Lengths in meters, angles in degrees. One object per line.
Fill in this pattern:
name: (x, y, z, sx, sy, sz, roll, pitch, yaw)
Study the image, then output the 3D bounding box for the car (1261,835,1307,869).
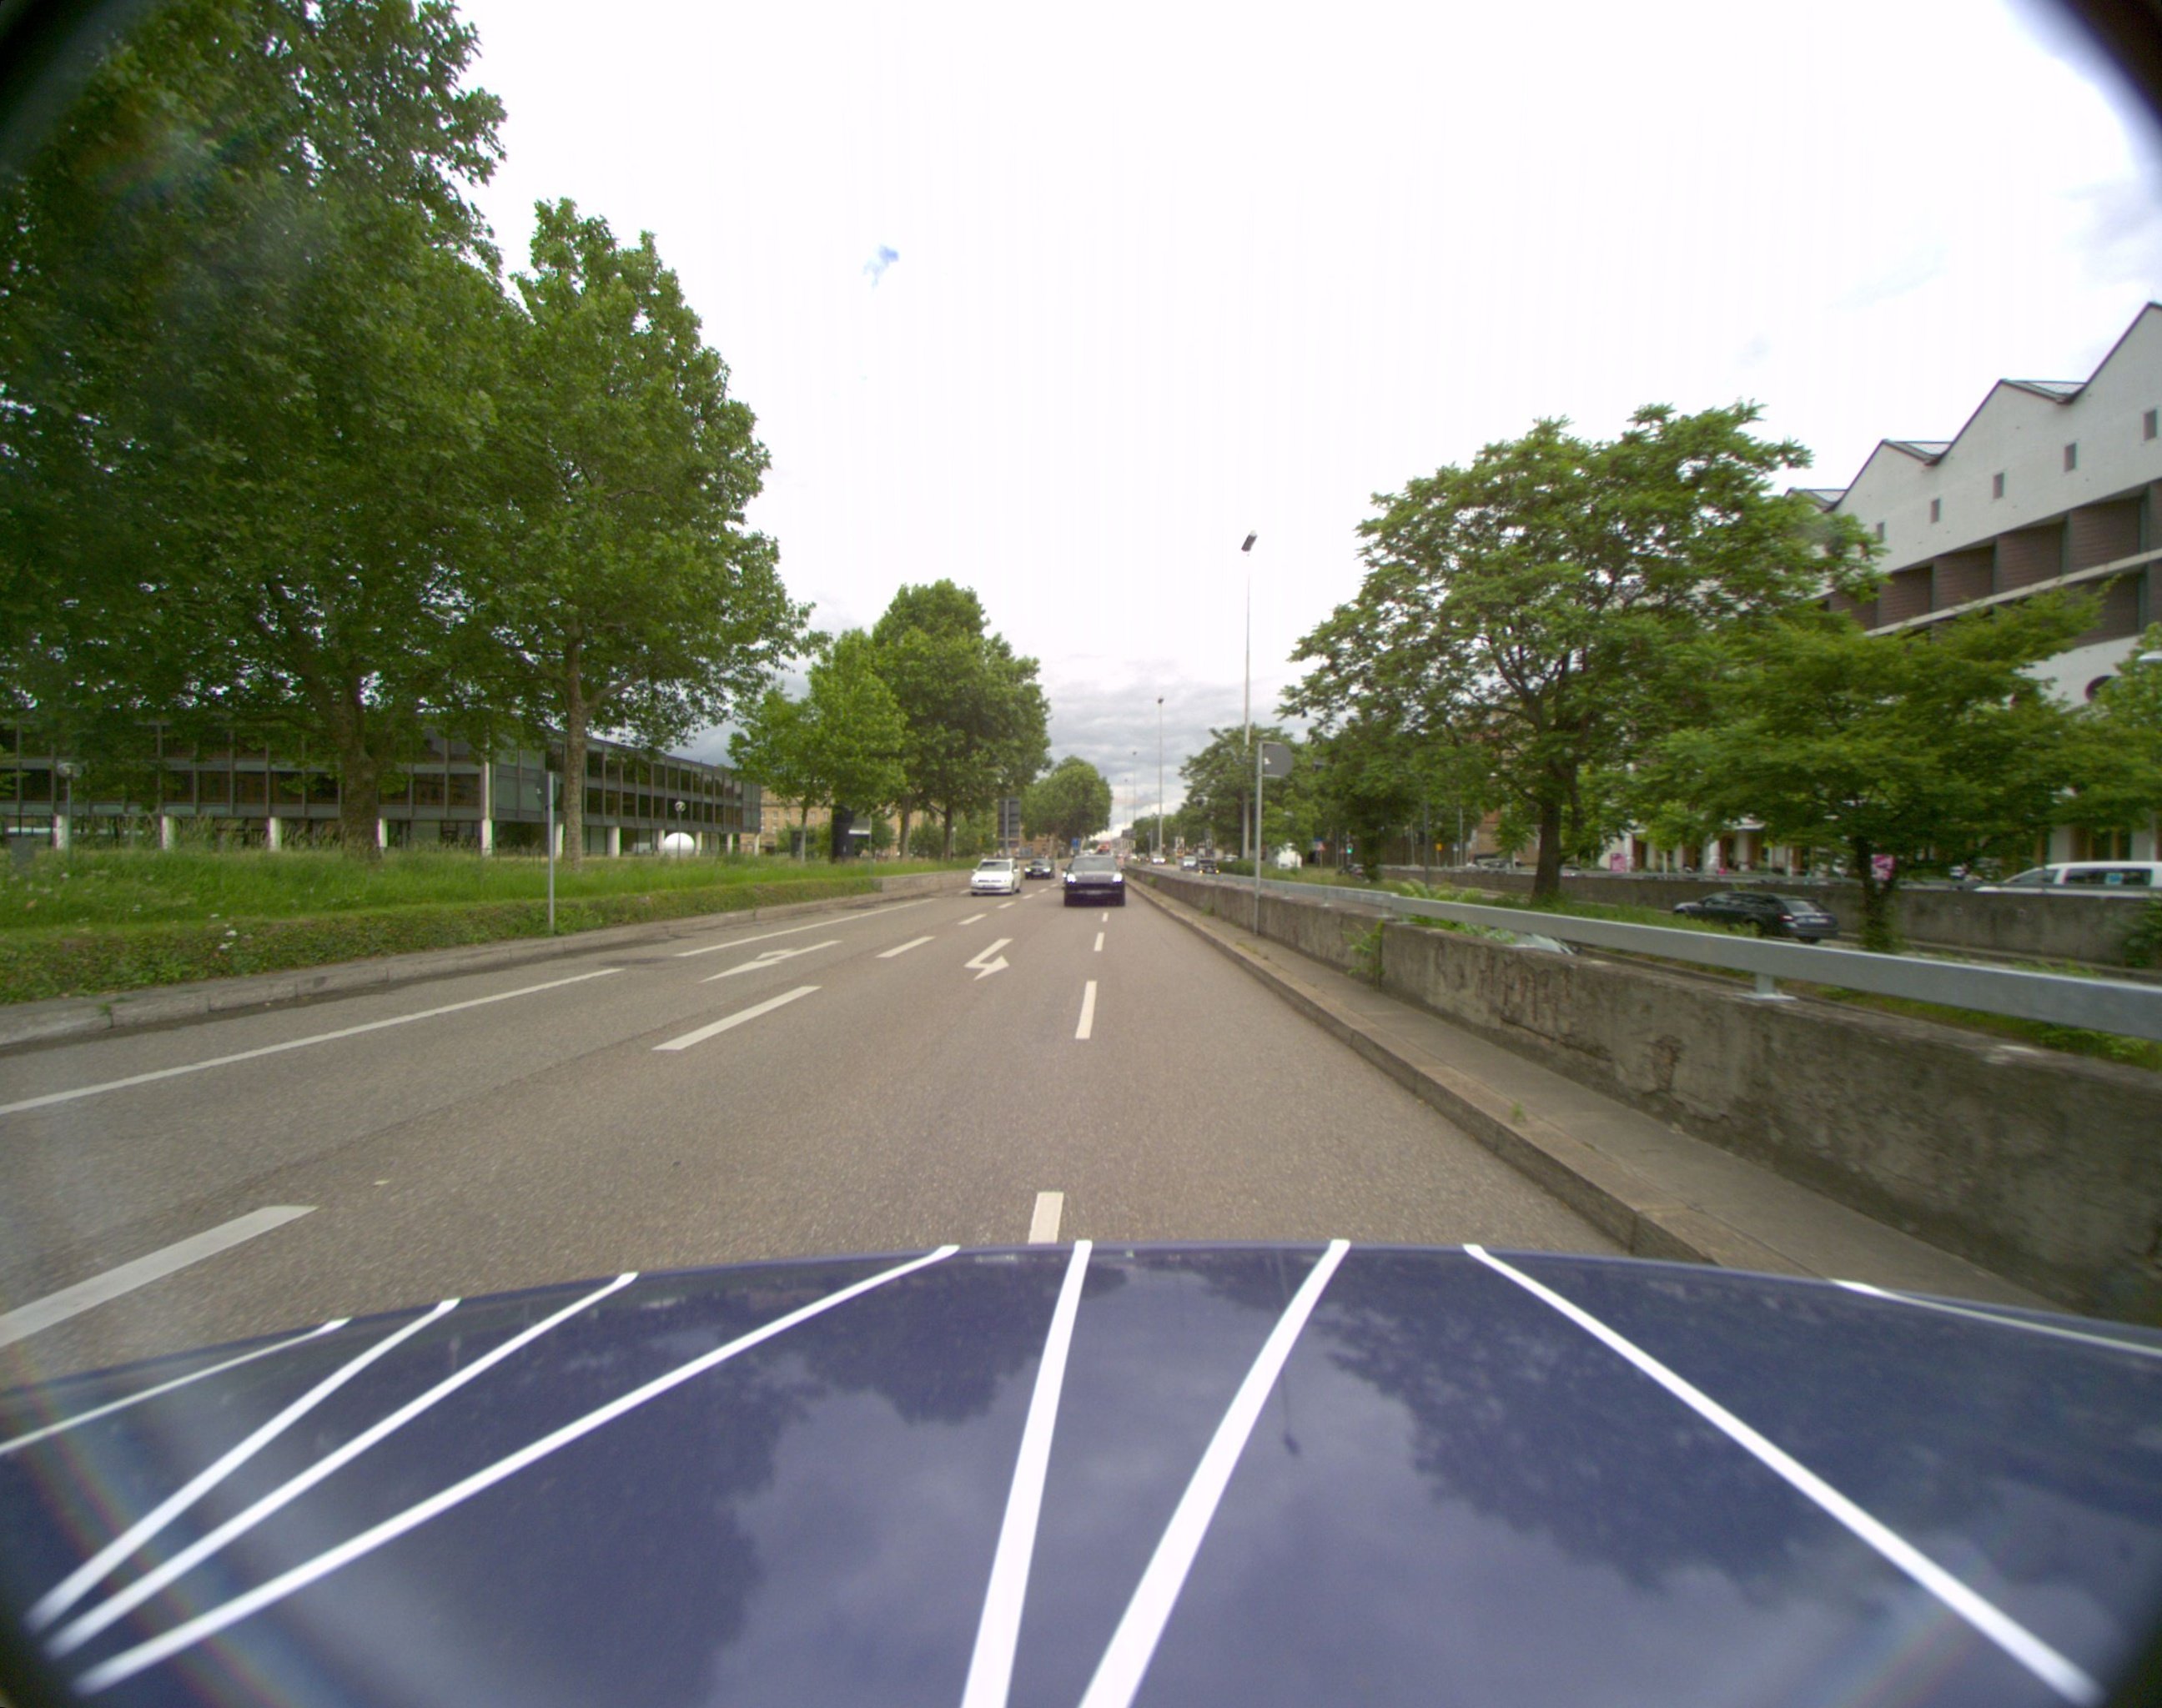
car: (17.005, -0.229, 63.946, 2.330, 2.511, 6.056, -2, 2, 1)

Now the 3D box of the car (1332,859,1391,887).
car: (17.015, 1.127, 46.299, 1.906, 1.478, 3.998, -2, 1, -3)

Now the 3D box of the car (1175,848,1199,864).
car: (10.979, 0.176, 78.978, 1.998, 1.636, 4.000, -1, 0, 1)

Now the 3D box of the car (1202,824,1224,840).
car: (15.417, -2.538, 88.819, 1.861, 1.707, 4.445, 1, 0, 2)

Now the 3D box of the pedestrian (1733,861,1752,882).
pedestrian: (42.447, 1.114, 48.762, 0.788, 1.319, 0.671, 0, 1, 28)

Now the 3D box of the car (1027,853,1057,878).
car: (-2.799, 0.799, 54.878, 2.062, 1.616, 4.600, -2, 0, -2)

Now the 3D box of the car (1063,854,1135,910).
car: (0.484, 0.839, 25.059, 2.062, 1.616, 4.600, 0, 0, -2)

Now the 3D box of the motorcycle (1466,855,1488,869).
motorcycle: (34.743, 0.681, 66.636, 1.892, 1.227, 0.657, 0, 3, -23)

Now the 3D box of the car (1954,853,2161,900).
car: (29.633, 0.599, 22.607, 1.813, 1.112, 4.807, -2, 1, 0)

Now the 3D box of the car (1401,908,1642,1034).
car: (7.566, 1.923, 13.605, 1.768, 1.507, 4.150, -1, 1, -3)

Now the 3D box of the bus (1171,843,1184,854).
bus: (30.944, -1.820, 243.317, 2.919, 3.286, 10.448, 0, 1, 0)

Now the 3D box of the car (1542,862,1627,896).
car: (28.734, 1.386, 43.538, 1.862, 1.707, 4.391, 1, 0, -1)

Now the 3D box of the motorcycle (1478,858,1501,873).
motorcycle: (34.913, 0.975, 64.995, 1.892, 1.227, 0.657, 0, 3, -23)

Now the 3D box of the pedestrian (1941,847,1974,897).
pedestrian: (35.943, 0.712, 31.150, 0.634, 2.002, 0.630, -2, 2, 2)

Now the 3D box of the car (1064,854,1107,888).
car: (0.161, 0.840, 40.554, 2.062, 1.616, 4.600, -2, 0, -2)

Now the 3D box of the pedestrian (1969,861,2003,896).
pedestrian: (41.649, 1.150, 34.977, 0.636, 1.512, 0.910, 7, -9, -41)

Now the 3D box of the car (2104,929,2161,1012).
car: (17.079, 1.783, 9.514, 1.999, 1.136, 4.848, -2, 1, -1)

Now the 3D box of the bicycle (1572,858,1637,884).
bicycle: (35.716, 1.175, 51.884, 3.622, 1.674, 1.183, 1, 0, 0)

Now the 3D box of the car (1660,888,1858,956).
car: (20.543, 1.979, 23.349, 1.883, 1.529, 4.578, -2, 1, -2)

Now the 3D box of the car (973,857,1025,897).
car: (-3.607, 0.966, 34.107, 1.695, 1.585, 4.000, 1, 1, 3)

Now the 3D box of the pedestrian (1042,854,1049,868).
pedestrian: (-4.135, 0.798, 88.809, 0.699, 1.646, 0.684, -2, 2, 1)

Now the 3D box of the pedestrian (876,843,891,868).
pedestrian: (-14.496, 0.101, 55.760, 1.030, 1.826, 0.998, -2, 2, -14)

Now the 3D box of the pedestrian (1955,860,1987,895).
pedestrian: (40.645, 1.080, 34.705, 0.636, 1.513, 0.909, 7, -3, -41)

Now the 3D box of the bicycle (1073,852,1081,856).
bicycle: (-1.029, -0.099, 200.102, 1.918, 1.092, 0.541, 0, 1, -7)

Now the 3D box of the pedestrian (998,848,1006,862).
pedestrian: (-9.344, 0.113, 89.656, 0.803, 1.617, 0.626, 1, 1, 9)

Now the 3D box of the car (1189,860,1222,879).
car: (10.369, 1.249, 63.691, 1.998, 1.474, 4.809, 0, 0, 0)
